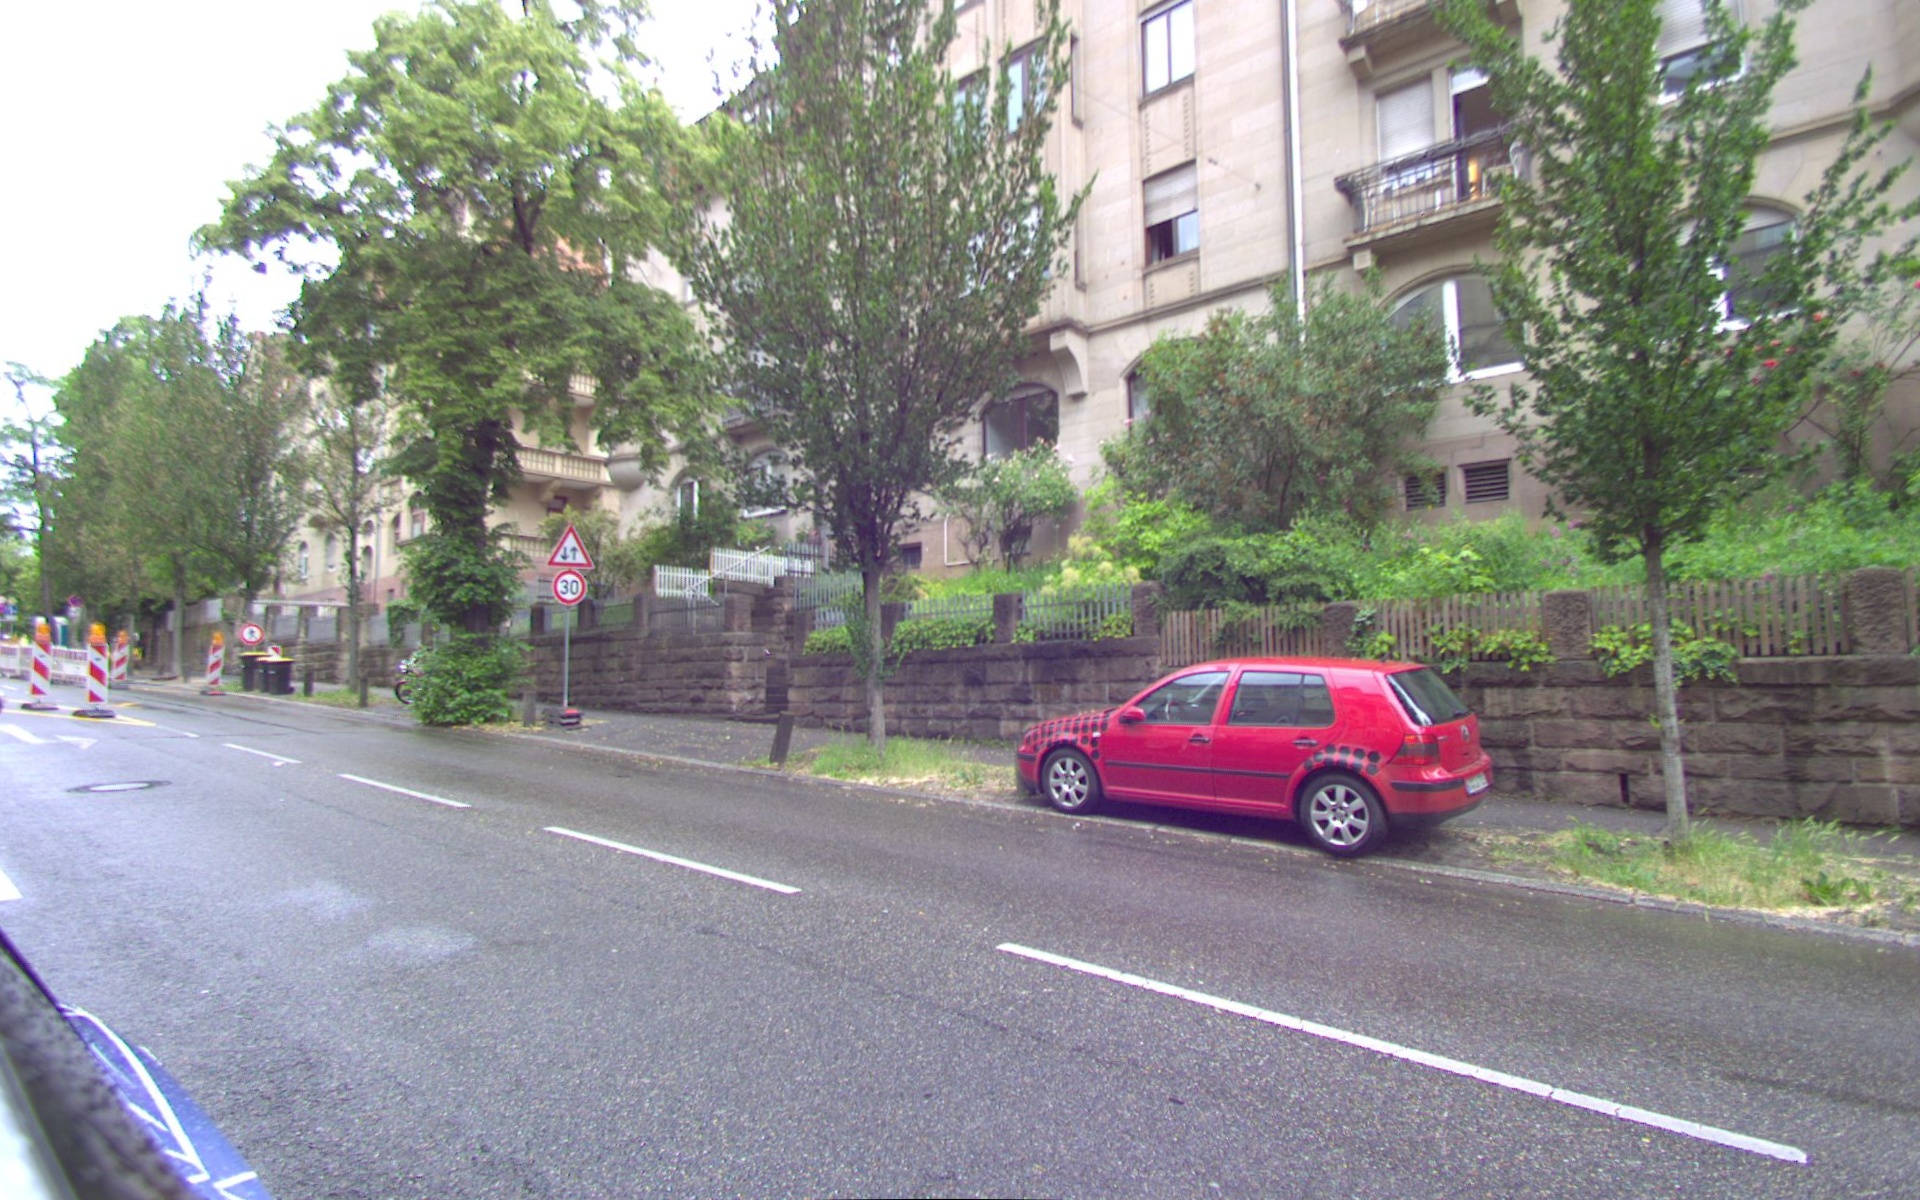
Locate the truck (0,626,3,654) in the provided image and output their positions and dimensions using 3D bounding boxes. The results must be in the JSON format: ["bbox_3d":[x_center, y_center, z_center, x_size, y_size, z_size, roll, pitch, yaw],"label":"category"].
[{"bbox_3d":[-32.171,1.725,32.092,5.150,1.850,2.049,-2,-5,41],"label":"truck"}]

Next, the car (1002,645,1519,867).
[{"bbox_3d":[2.438,1.151,8.876,4.062,1.462,1.596,-2,-3,42],"label":"car"}]

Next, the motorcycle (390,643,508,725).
[{"bbox_3d":[-9.722,1.551,19.171,3.058,1.425,0.792,-2,-2,38],"label":"motorcycle"}]

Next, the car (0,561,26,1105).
[{"bbox_3d":[-5.230,0.752,4.014,4.520,1.685,1.799,-2,-3,42],"label":"car"}]
